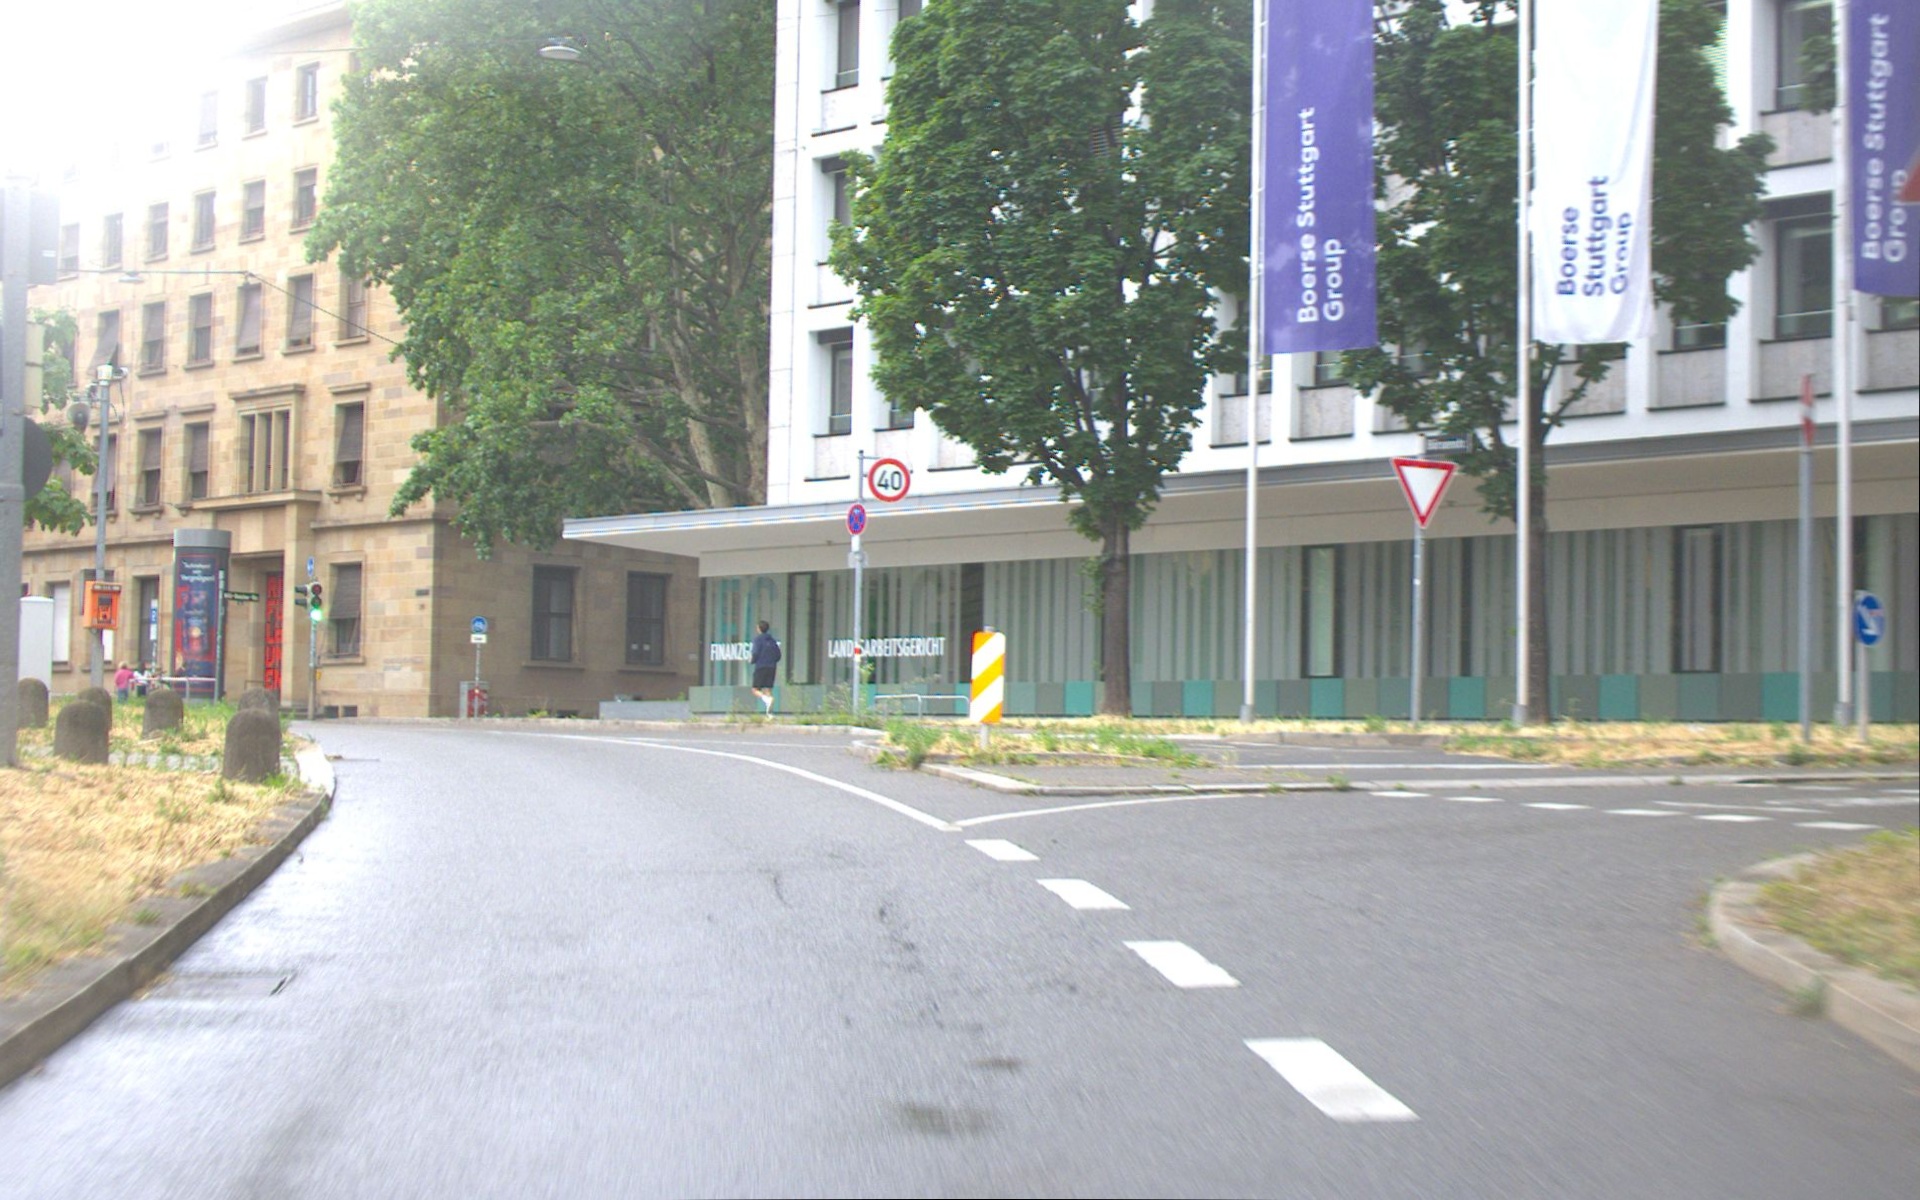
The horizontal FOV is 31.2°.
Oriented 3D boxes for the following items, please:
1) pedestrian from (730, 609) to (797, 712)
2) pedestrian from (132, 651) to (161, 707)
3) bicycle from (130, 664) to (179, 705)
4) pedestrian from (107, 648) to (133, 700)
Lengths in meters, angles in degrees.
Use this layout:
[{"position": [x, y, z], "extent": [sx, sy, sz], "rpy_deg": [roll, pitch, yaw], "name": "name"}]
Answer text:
[{"position": [-3.428, 1.062, 60.034], "extent": [0.779, 1.766, 0.862], "rpy_deg": [3, -3, -34], "name": "pedestrian"}, {"position": [-23.682, 2.295, 100.063], "extent": [0.524, 1.597, 0.673], "rpy_deg": [4, -3, -36], "name": "pedestrian"}, {"position": [-19.992, 2.095, 85.301], "extent": [0.489, 1.009, 1.927], "rpy_deg": [4, -3, -34], "name": "bicycle"}, {"position": [-24.309, 2.138, 99.501], "extent": [0.524, 1.487, 0.674], "rpy_deg": [3, -3, -26], "name": "pedestrian"}]
